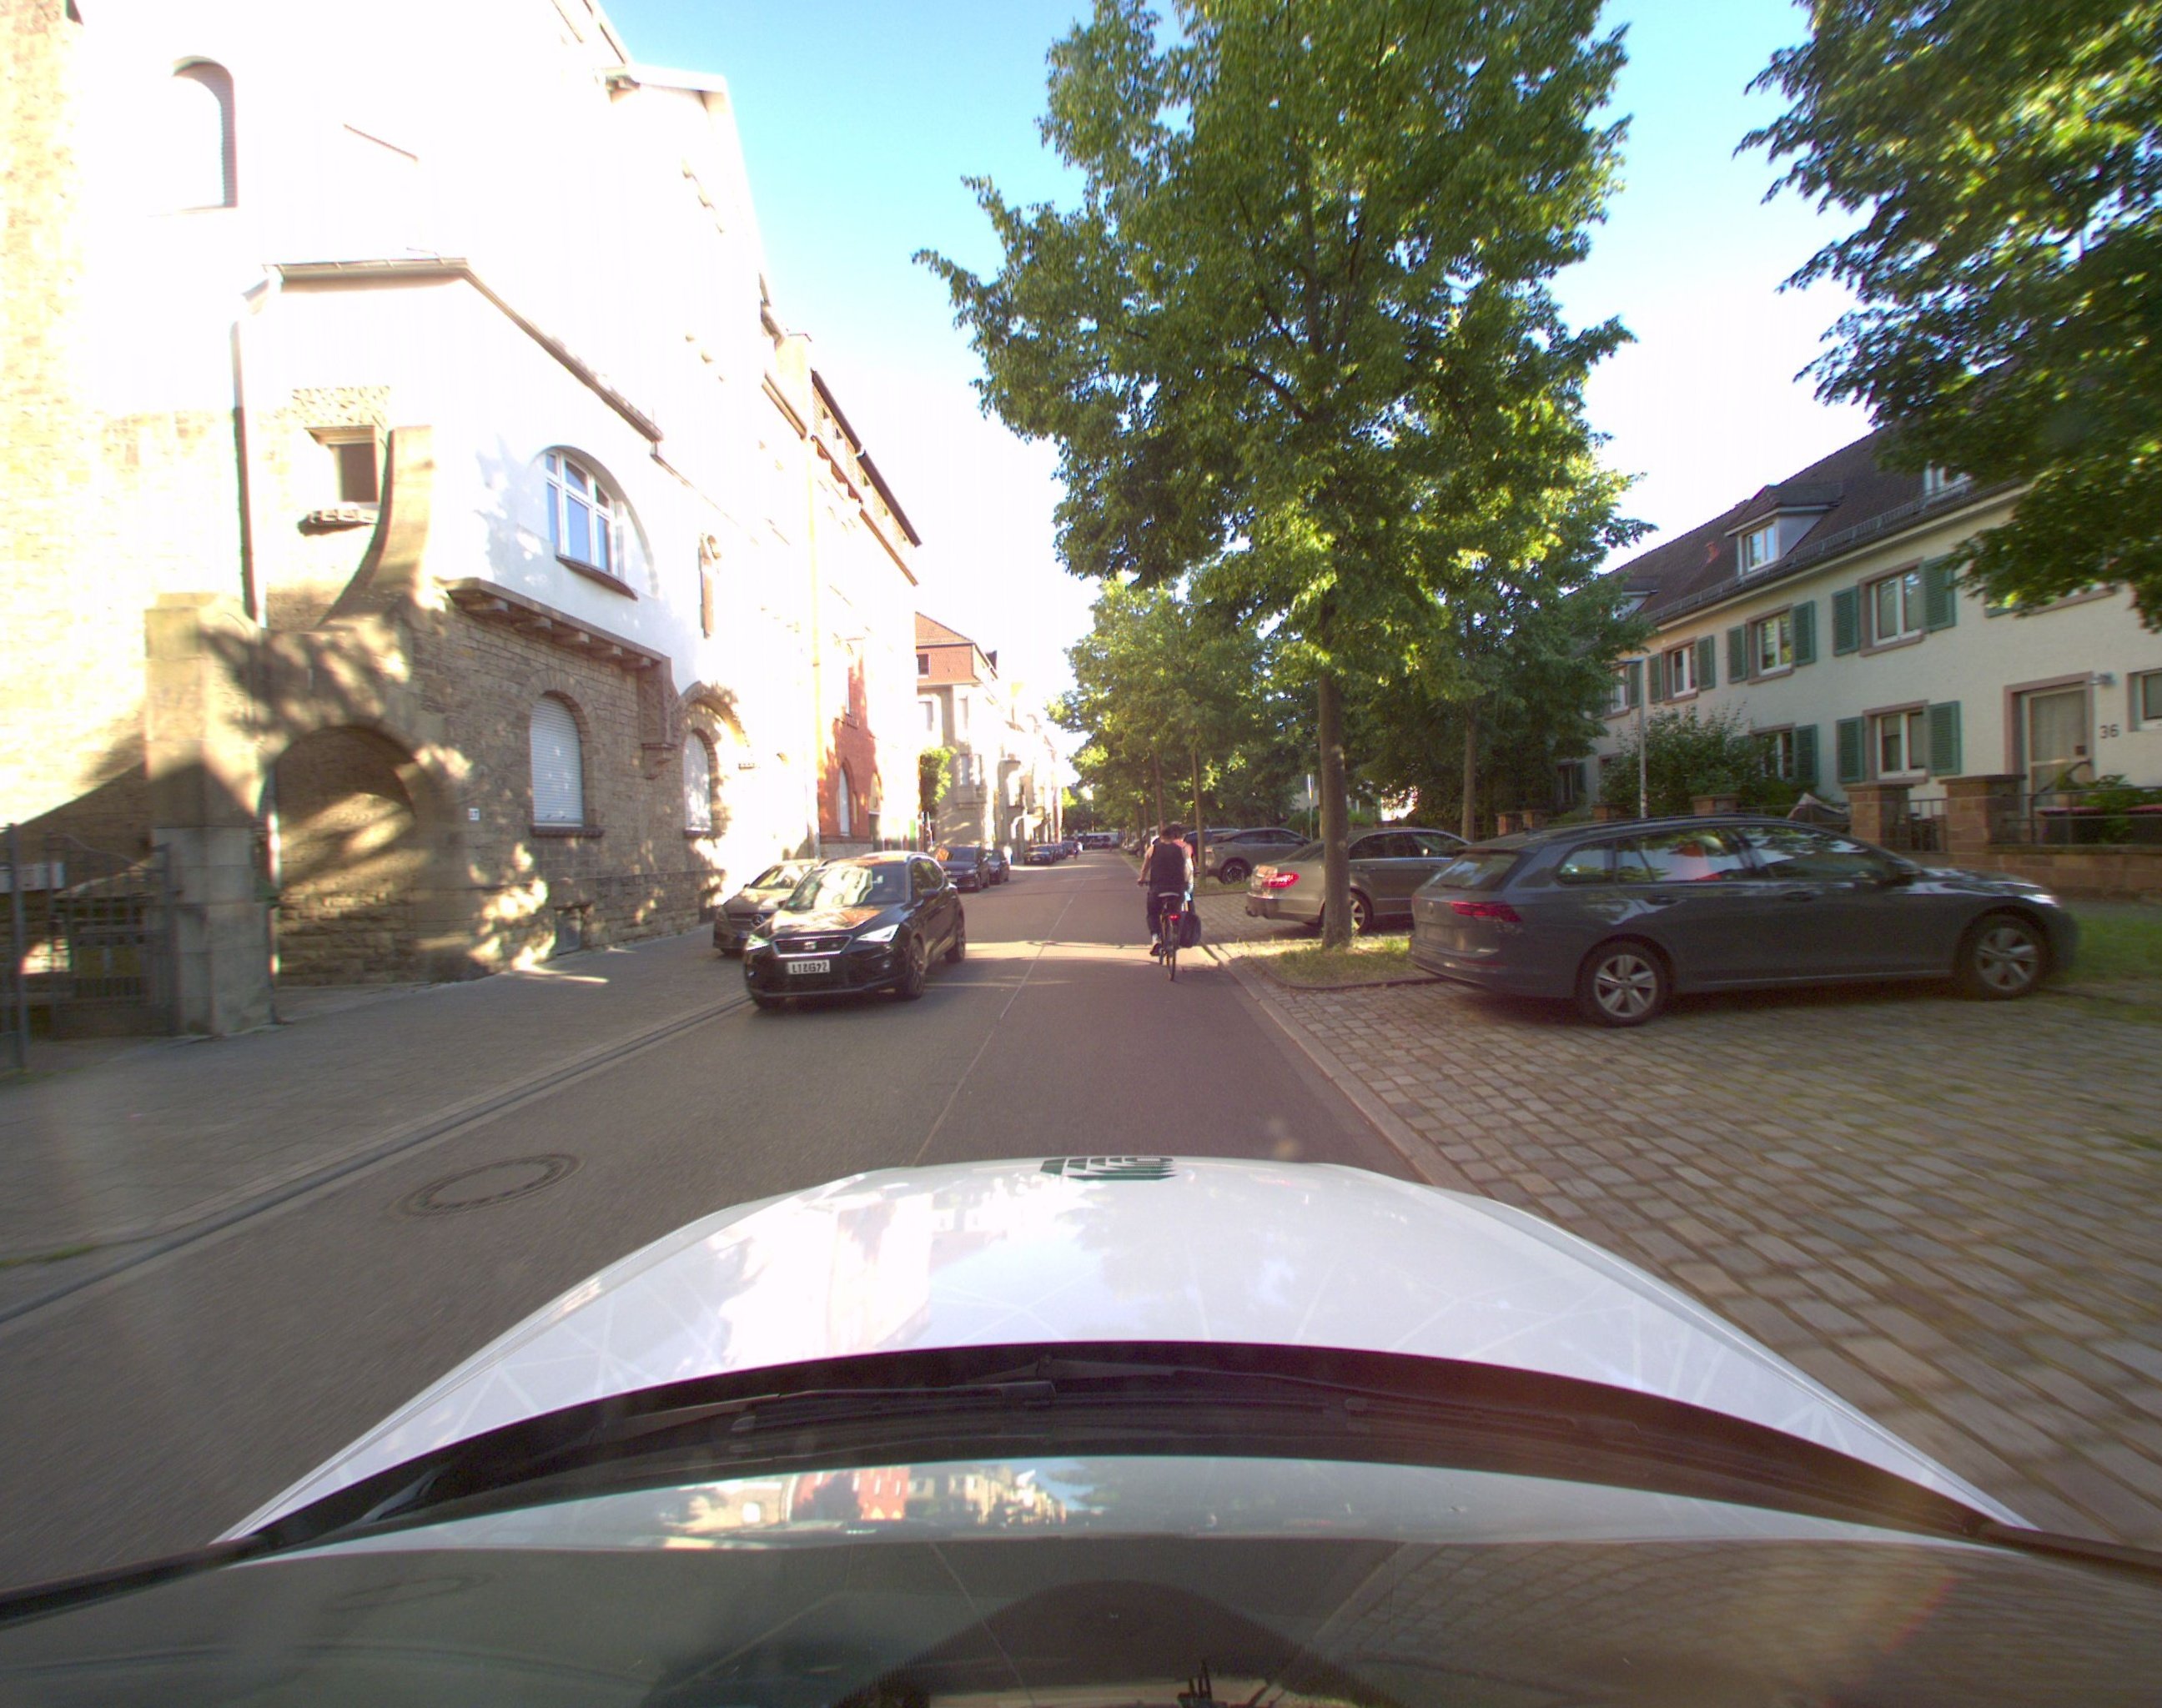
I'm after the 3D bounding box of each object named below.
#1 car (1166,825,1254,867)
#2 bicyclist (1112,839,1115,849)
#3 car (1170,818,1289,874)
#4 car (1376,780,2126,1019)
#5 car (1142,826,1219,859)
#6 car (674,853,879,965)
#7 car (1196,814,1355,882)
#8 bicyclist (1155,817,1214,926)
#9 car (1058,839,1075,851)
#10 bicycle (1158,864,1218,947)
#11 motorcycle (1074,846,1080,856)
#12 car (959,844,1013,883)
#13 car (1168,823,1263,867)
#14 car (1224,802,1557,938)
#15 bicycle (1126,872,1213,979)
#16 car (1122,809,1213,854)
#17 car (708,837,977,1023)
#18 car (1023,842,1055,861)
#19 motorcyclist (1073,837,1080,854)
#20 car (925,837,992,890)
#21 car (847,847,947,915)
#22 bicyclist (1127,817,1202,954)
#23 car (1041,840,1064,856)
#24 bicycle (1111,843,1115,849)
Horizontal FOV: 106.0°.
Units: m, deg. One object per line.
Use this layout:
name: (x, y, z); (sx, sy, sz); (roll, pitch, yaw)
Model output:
car: (6.564, -0.396, 41.739); (4.226, 1.797, 1.856); (-4, 0, 2)
bicyclist: (4.590, -1.422, 115.829); (0.415, 1.350, 0.430); (-2, 0, 2)
car: (5.669, -0.310, 31.429); (4.226, 1.839, 1.856); (-4, 0, 2)
car: (4.971, 0.324, 6.602); (4.484, 1.453, 1.817); (-3, 0, 2)
car: (6.340, -0.700, 52.232); (4.738, 1.779, 1.856); (-4, 0, 2)
car: (-4.861, 0.785, 13.699); (1.748, 1.517, 4.116); (2, 0, 2)
car: (5.661, -0.165, 24.079); (4.226, 1.647, 1.856); (-4, 0, 2)
bicyclist: (1.514, 0.248, 12.072); (0.716, 1.526, 0.972); (-2, 0, 1)
car: (-1.945, -1.181, 108.852); (1.986, 1.530, 4.002); (-2, 0, 2)
bicycle: (1.563, 0.715, 12.134); (0.554, 1.072, 1.968); (-2, 1, -1)
motorcycle: (-0.343, -0.227, 69.913); (0.549, 0.801, 1.308); (-3, 1, -1)
car: (-3.894, 0.362, 33.984); (1.609, 1.482, 4.020); (2, 0, 2)
car: (6.414, -0.441, 39.104); (4.226, 1.797, 1.856); (-4, 0, 2)
car: (4.455, 0.213, 12.154); (4.231, 1.605, 1.752); (-4, 0, -2)
bicycle: (0.992, 0.776, 9.607); (0.694, 1.073, 1.967); (-2, 0, -2)
car: (7.245, -1.855, 68.750); (7.303, 3.282, 2.225); (-4, 0, 2)
car: (-2.505, 0.700, 9.704); (1.760, 1.599, 4.092); (-5, 0, 2)
car: (-3.078, -0.181, 59.971); (1.963, 1.320, 4.002); (-2, 0, 2)
motorcyclist: (-0.372, -0.706, 69.910); (0.549, 1.448, 0.688); (-3, 1, -1)
car: (-4.181, 0.319, 28.442); (1.625, 1.665, 3.969); (-2, 0, 1)
car: (-4.484, 0.598, 20.371); (1.485, 1.517, 3.777); (2, 0, 2)
bicyclist: (0.973, 0.362, 9.732); (0.704, 1.526, 0.971); (-2, 0, -3)
car: (-2.761, -0.570, 79.605); (1.986, 1.530, 4.002); (-2, 0, 2)
bicycle: (4.593, -1.105, 115.839); (0.539, 0.828, 1.920); (-2, 0, 2)
